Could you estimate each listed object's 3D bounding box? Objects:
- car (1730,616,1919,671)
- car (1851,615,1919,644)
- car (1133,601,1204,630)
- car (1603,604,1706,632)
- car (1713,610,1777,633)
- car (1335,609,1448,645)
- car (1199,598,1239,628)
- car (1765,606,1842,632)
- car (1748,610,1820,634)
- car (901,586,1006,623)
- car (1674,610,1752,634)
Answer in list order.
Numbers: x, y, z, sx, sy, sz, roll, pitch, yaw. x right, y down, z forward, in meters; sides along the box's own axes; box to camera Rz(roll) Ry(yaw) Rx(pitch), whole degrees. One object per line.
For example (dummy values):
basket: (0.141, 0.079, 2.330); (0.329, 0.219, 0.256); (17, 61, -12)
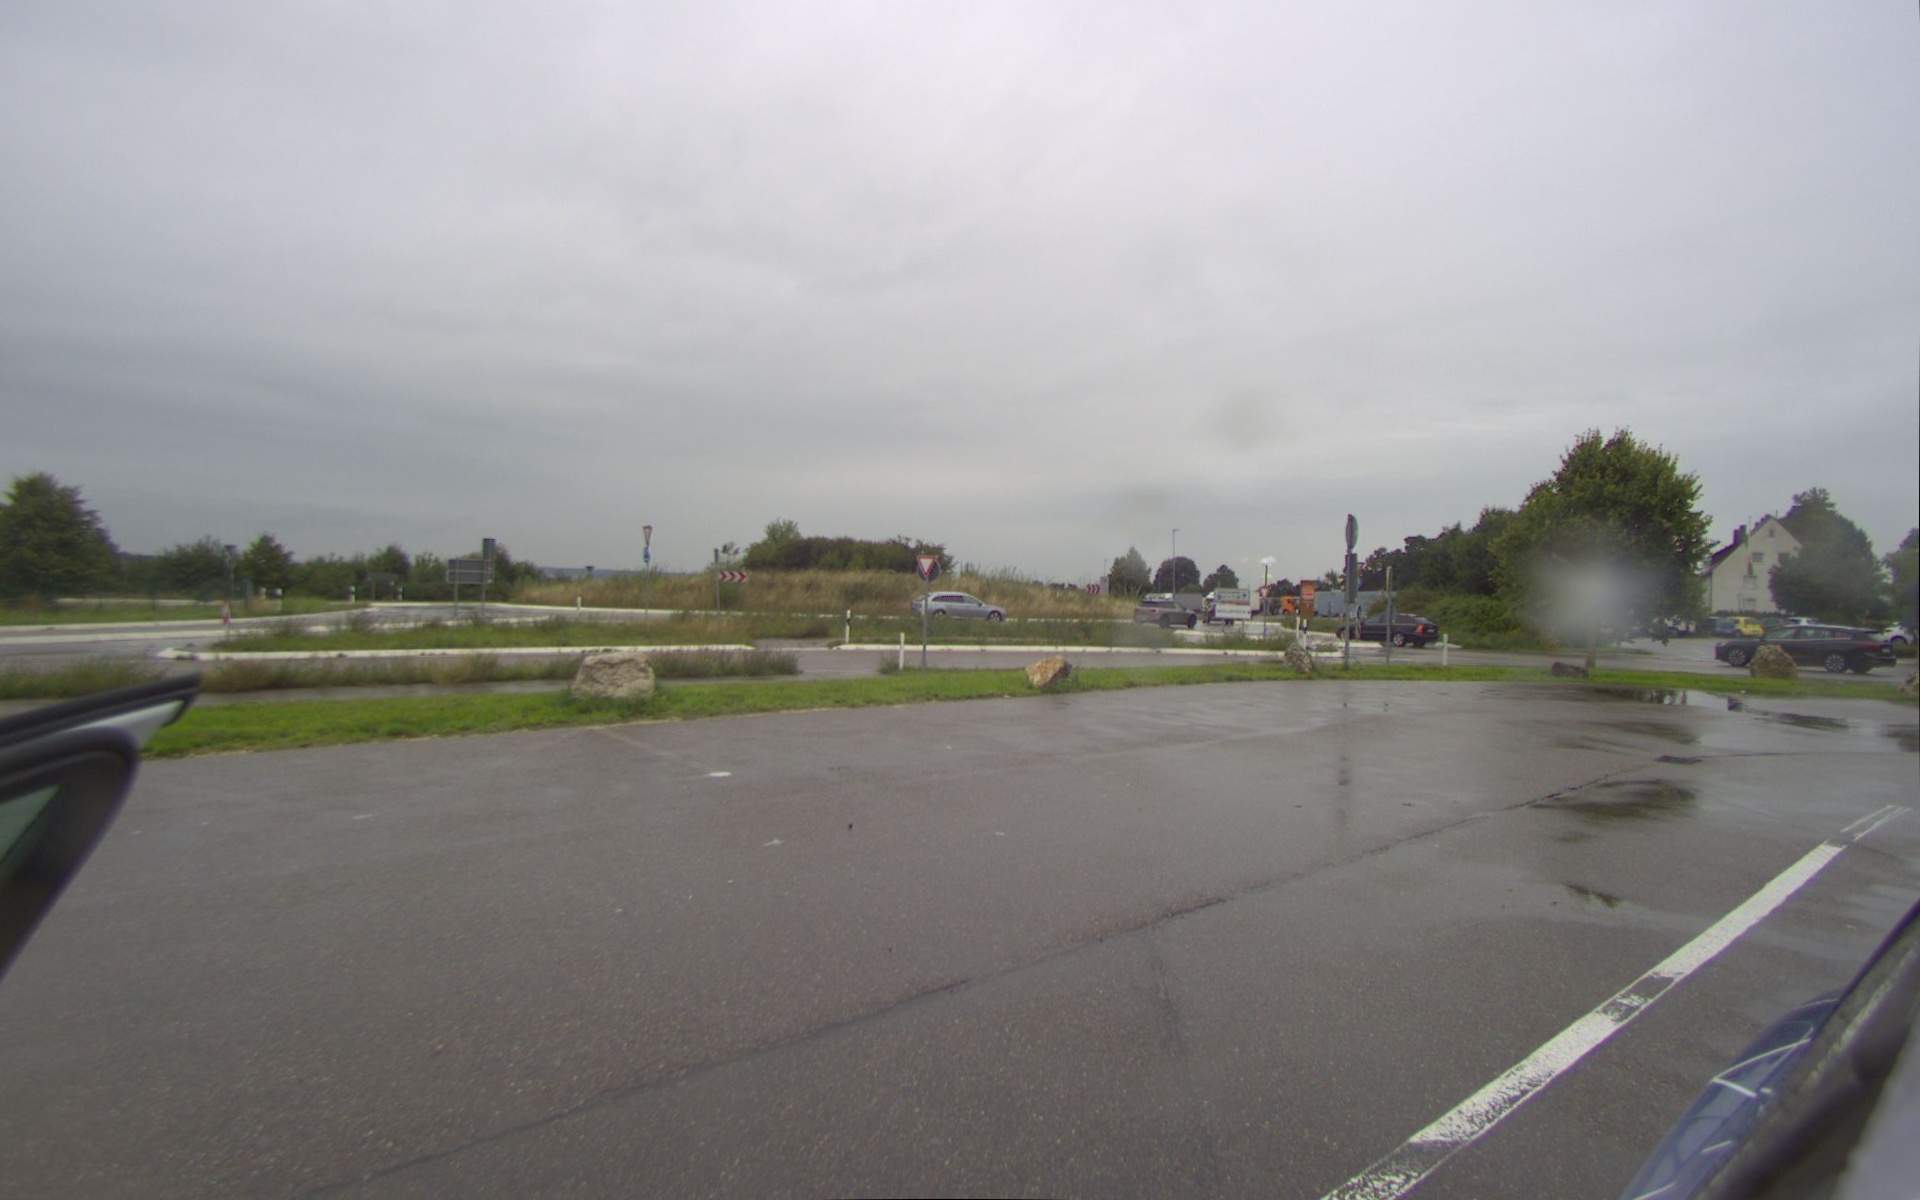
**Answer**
car: (27.537, 1.337, 32.305); (1.832, 1.467, 4.335); (2, 0, -30)
car: (51.430, 1.608, 55.008); (1.819, 1.443, 4.350); (1, 0, -44)
car: (11.174, 0.814, 54.074); (1.751, 1.340, 4.243); (4, 4, 43)
car: (46.064, 1.178, 67.211); (1.966, 1.744, 5.366); (2, -1, -42)
car: (55.258, 1.473, 71.301); (1.635, 1.569, 3.724); (1, 0, 2)
car: (19.029, 1.161, 44.766); (1.674, 1.443, 4.359); (1, 0, -36)
car: (17.715, 0.848, 69.334); (1.859, 1.704, 4.666); (2, 3, 5)
car: (59.858, 1.348, 71.869); (1.951, 1.750, 4.003); (1, 0, -4)
car: (57.836, 1.498, 71.099); (1.715, 1.590, 3.891); (1, 0, -3)
car: (-0.317, 0.222, 48.031); (4.564, 1.500, 2.005); (2, 1, -16)
car: (52.756, 1.502, 71.040); (1.962, 1.570, 4.648); (1, -1, -1)
